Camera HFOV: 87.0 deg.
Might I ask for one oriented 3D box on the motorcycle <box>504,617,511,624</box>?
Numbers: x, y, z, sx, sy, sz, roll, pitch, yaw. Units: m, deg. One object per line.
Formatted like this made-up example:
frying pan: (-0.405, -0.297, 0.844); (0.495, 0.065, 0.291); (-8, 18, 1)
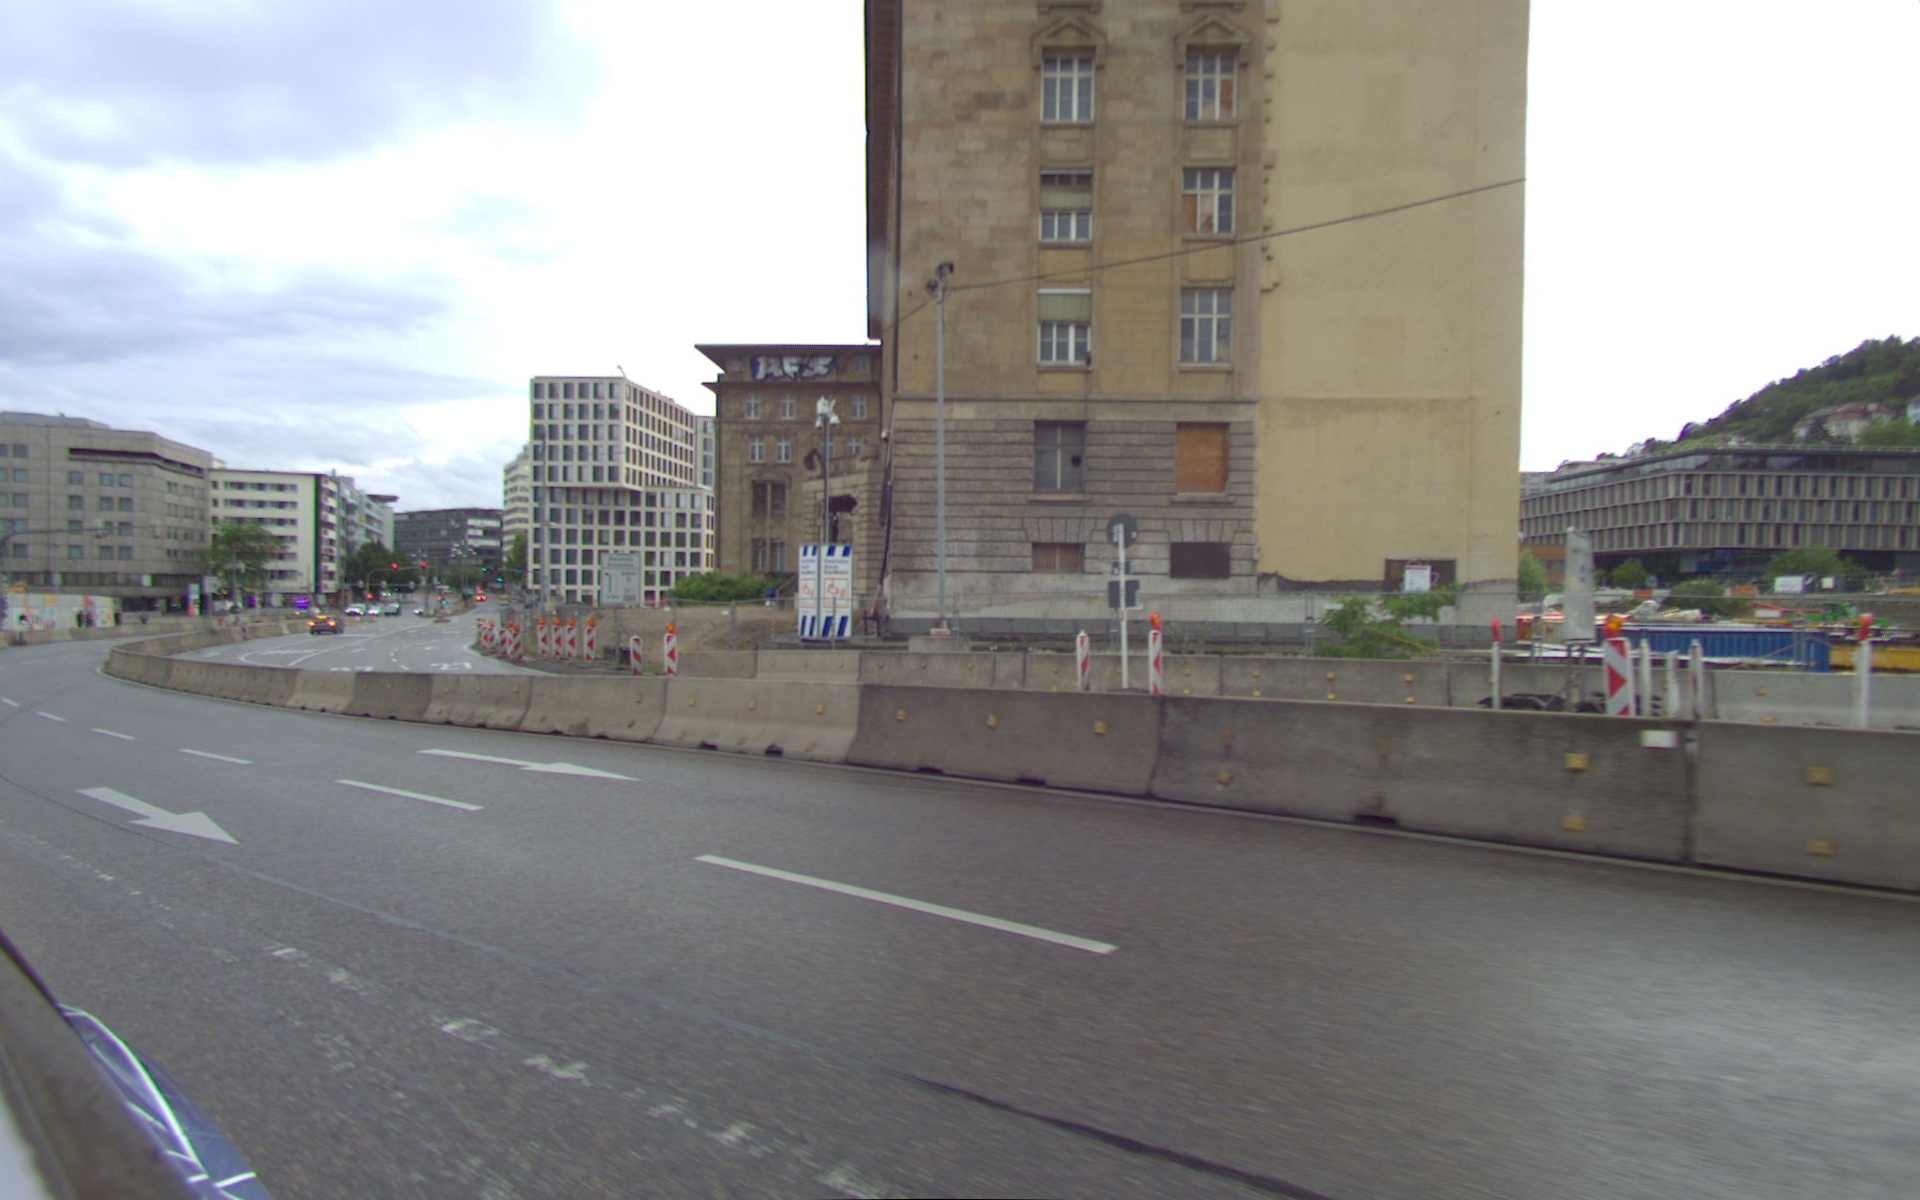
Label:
motorcycle: (-58.084, 2.665, 129.869); (0.692, 0.899, 1.828); (0, -1, -28)

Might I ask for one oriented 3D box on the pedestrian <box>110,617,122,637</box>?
pedestrian: (-75.388, 2.432, 90.405); (0.745, 1.774, 0.767); (3, -2, -38)

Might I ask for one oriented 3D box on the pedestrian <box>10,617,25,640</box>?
pedestrian: (-68.407, 2.082, 73.446); (0.638, 1.682, 0.767); (3, -2, -38)

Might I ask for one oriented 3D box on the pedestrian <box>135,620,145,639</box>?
pedestrian: (-78.464, 2.817, 96.848); (0.643, 1.774, 0.549); (3, -2, -38)

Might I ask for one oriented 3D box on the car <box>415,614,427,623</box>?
car: (-90.403, 3.019, 169.761); (1.762, 1.464, 3.684); (0, -1, -28)

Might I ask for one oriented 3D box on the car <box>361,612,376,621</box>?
car: (-96.193, 2.728, 164.634); (1.965, 1.464, 4.013); (0, -1, -28)

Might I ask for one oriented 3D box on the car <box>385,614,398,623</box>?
car: (-92.229, 2.978, 164.125); (1.680, 1.464, 3.808); (0, -1, -28)

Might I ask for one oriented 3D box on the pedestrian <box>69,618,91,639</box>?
pedestrian: (-75.265, 2.409, 86.549); (1.081, 1.774, 0.909); (2, -2, -23)

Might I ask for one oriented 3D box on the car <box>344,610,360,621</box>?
car: (-99.460, 2.507, 165.520); (1.965, 1.838, 4.013); (0, -1, -28)

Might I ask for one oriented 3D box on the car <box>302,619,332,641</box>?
car: (-49.358, 2.274, 77.755); (1.742, 1.533, 4.400); (0, -1, -30)

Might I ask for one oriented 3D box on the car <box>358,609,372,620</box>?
car: (-102.814, 2.497, 174.856); (1.965, 1.863, 4.013); (0, -1, -28)

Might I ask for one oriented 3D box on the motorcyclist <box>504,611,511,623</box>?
motorcyclist: (-58.047, 2.215, 129.810); (0.692, 1.498, 0.966); (0, -1, -29)
